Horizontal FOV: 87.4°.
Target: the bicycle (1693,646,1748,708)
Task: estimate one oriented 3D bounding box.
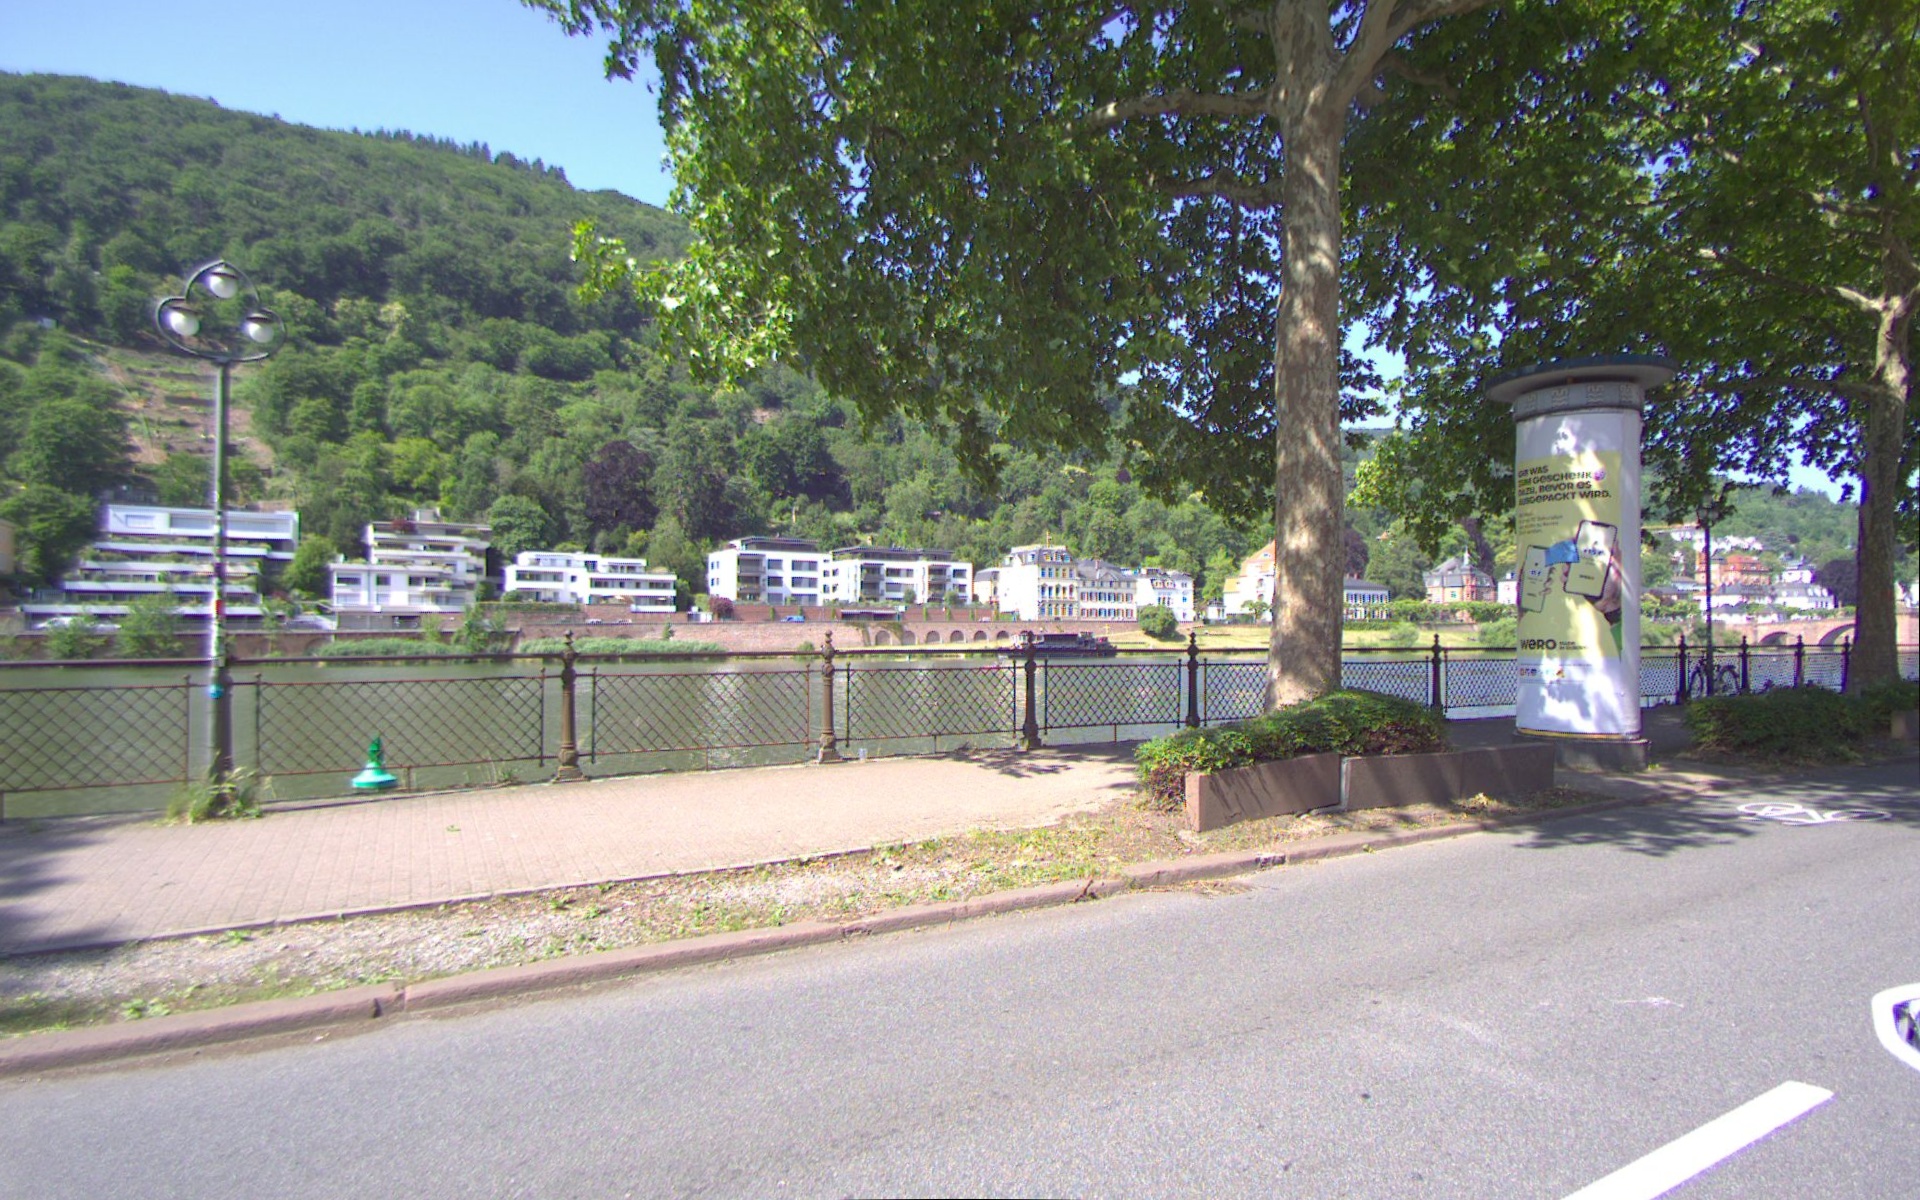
[{"bbox_3d":[14.365,1.443,18.966,1.281,1.106,0.357,1,2,-31],"label":"bicycle"}]

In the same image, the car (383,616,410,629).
[{"bbox_3d":[-95.364,3.859,170.131,3.953,2.041,1.984,-1,1,-30],"label":"car"}]
